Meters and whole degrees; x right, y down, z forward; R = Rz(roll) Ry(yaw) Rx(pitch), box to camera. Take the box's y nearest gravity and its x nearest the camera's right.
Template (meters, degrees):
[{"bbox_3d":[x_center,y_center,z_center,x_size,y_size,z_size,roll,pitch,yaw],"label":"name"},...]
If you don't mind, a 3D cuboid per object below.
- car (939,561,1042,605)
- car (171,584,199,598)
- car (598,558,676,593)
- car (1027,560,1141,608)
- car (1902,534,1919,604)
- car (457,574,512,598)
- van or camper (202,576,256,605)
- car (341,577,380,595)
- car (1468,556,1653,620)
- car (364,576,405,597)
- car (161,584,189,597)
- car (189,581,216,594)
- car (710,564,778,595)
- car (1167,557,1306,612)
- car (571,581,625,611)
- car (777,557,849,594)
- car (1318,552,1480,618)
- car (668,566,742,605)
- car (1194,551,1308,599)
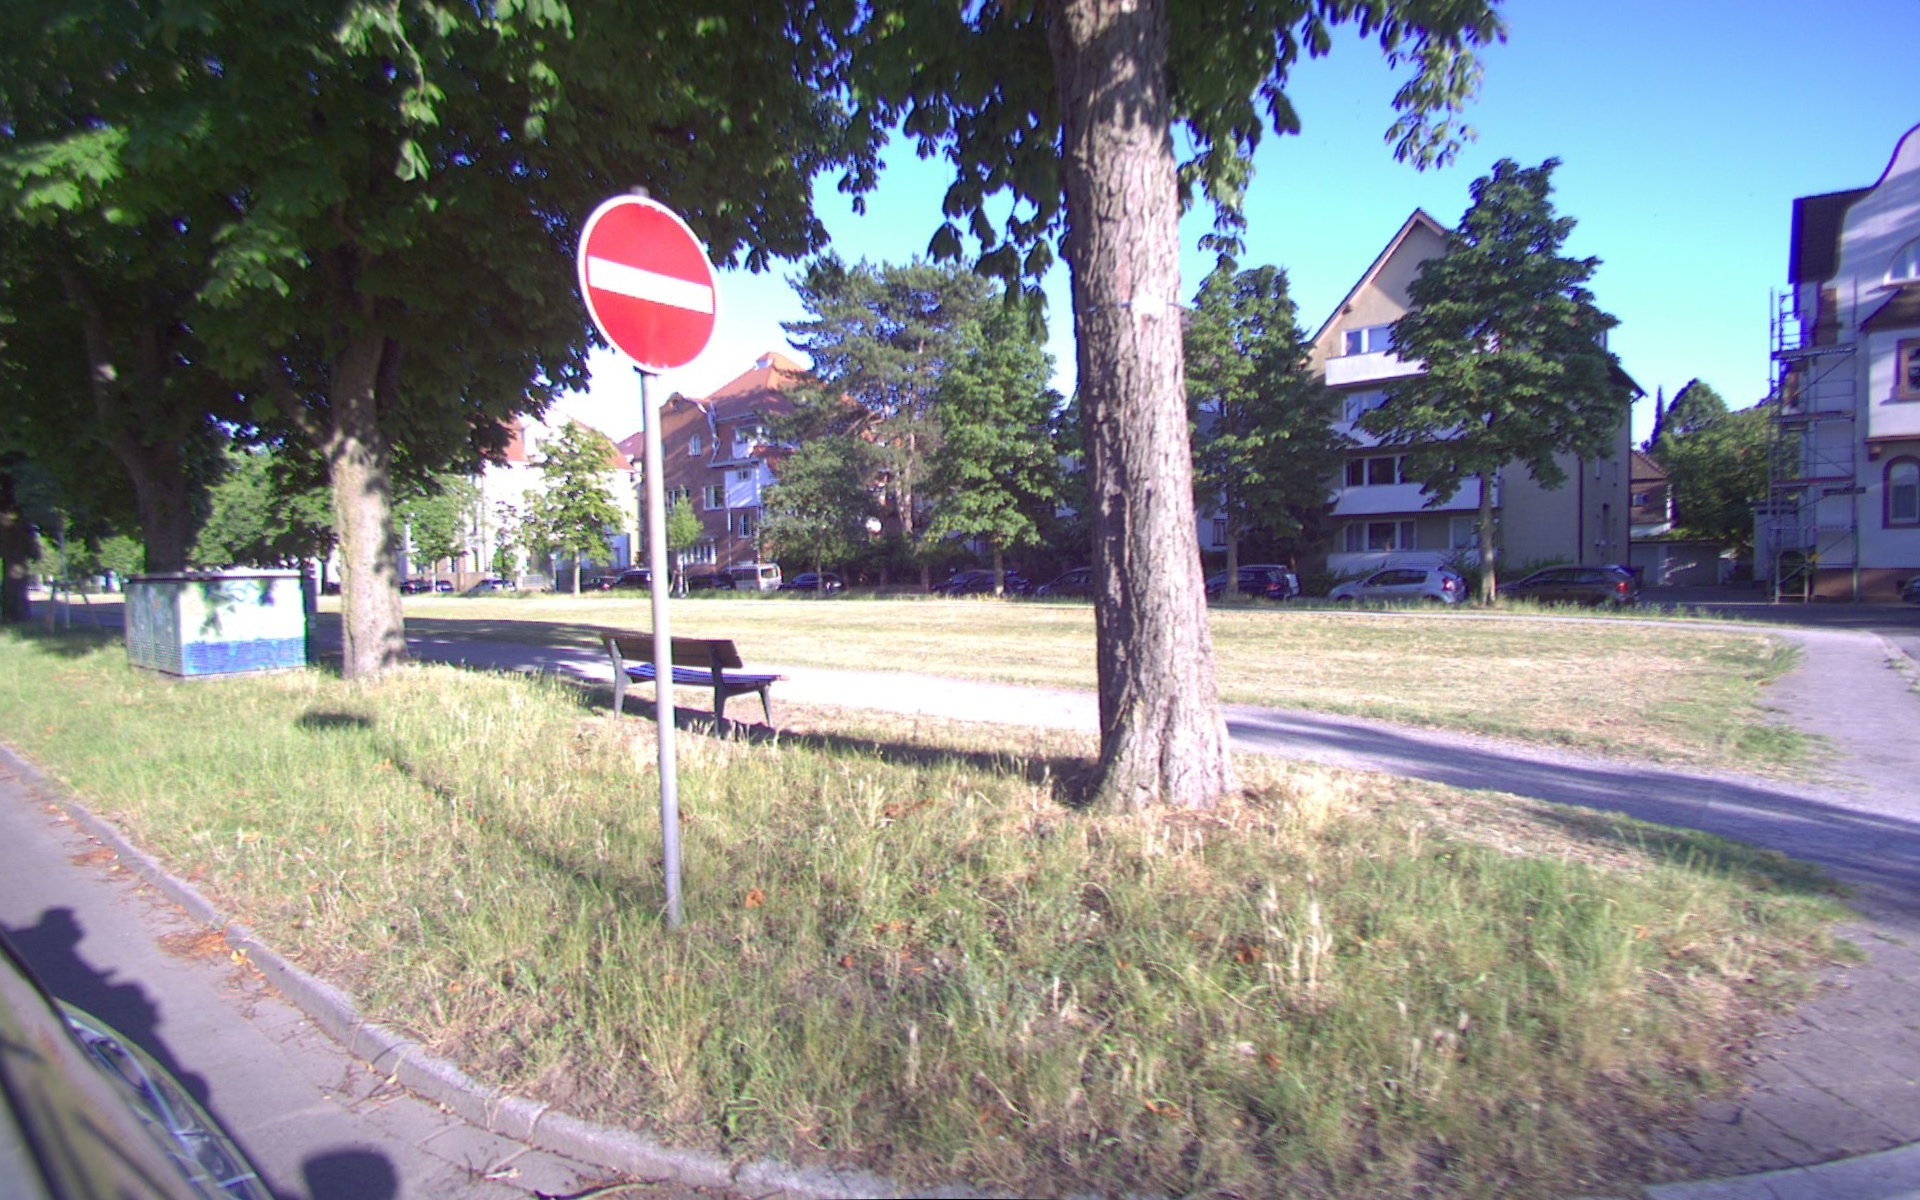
[{"bbox_3d":[1.239,-0.729,42.555,4.000,1.696,1.972,1,4,43],"label":"car"},{"bbox_3d":[-99.626,-1.177,130.067,4.873,1.703,1.973,0,3,41],"label":"car"},{"bbox_3d":[-19.240,-1.443,60.127,5.244,1.955,1.973,0,2,42],"label":"car"},{"bbox_3d":[4.774,-0.655,39.180,4.000,1.696,1.972,1,4,43],"label":"car"},{"bbox_3d":[28.213,-0.868,26.864,4.490,1.890,1.975,0,3,38],"label":"car"},{"bbox_3d":[-34.431,-0.995,73.252,4.647,1.651,1.801,0,2,41],"label":"car"},{"bbox_3d":[-84.573,-1.160,117.017,7.893,3.133,3.221,0,3,41],"label":"van or camper"},{"bbox_3d":[-61.680,-1.441,104.135,4.425,1.664,1.974,0,3,39],"label":"car"},{"bbox_3d":[17.152,-0.380,29.014,4.254,1.661,1.973,1,4,42],"label":"car"},{"bbox_3d":[-57.214,-1.351,100.586,4.424,2.028,1.974,0,3,39],"label":"car"},{"bbox_3d":[-103.782,-1.272,133.772,4.873,1.703,1.973,0,3,41],"label":"car"},{"bbox_3d":[-107.776,-1.765,143.972,4.870,1.703,1.975,0,3,39],"label":"car"},{"bbox_3d":[-13.354,-1.244,62.464,4.406,1.851,1.798,0,2,41],"label":"car"},{"bbox_3d":[9.593,-0.568,35.249,4.254,1.733,1.973,1,4,42],"label":"car"},{"bbox_3d":[-26.414,-0.301,73.713,4.366,2.028,1.739,0,2,41],"label":"car"},{"bbox_3d":[-8.489,-1.374,58.225,4.000,2.028,1.972,0,2,42],"label":"car"},{"bbox_3d":[13.691,-0.509,31.653,4.254,1.874,1.973,1,4,42],"label":"car"},{"bbox_3d":[-14.095,-0.793,55.928,3.998,2.028,1.973,0,3,41],"label":"car"},{"bbox_3d":[11.695,-1.004,40.745,3.995,1.796,1.975,1,4,39],"label":"car"}]
